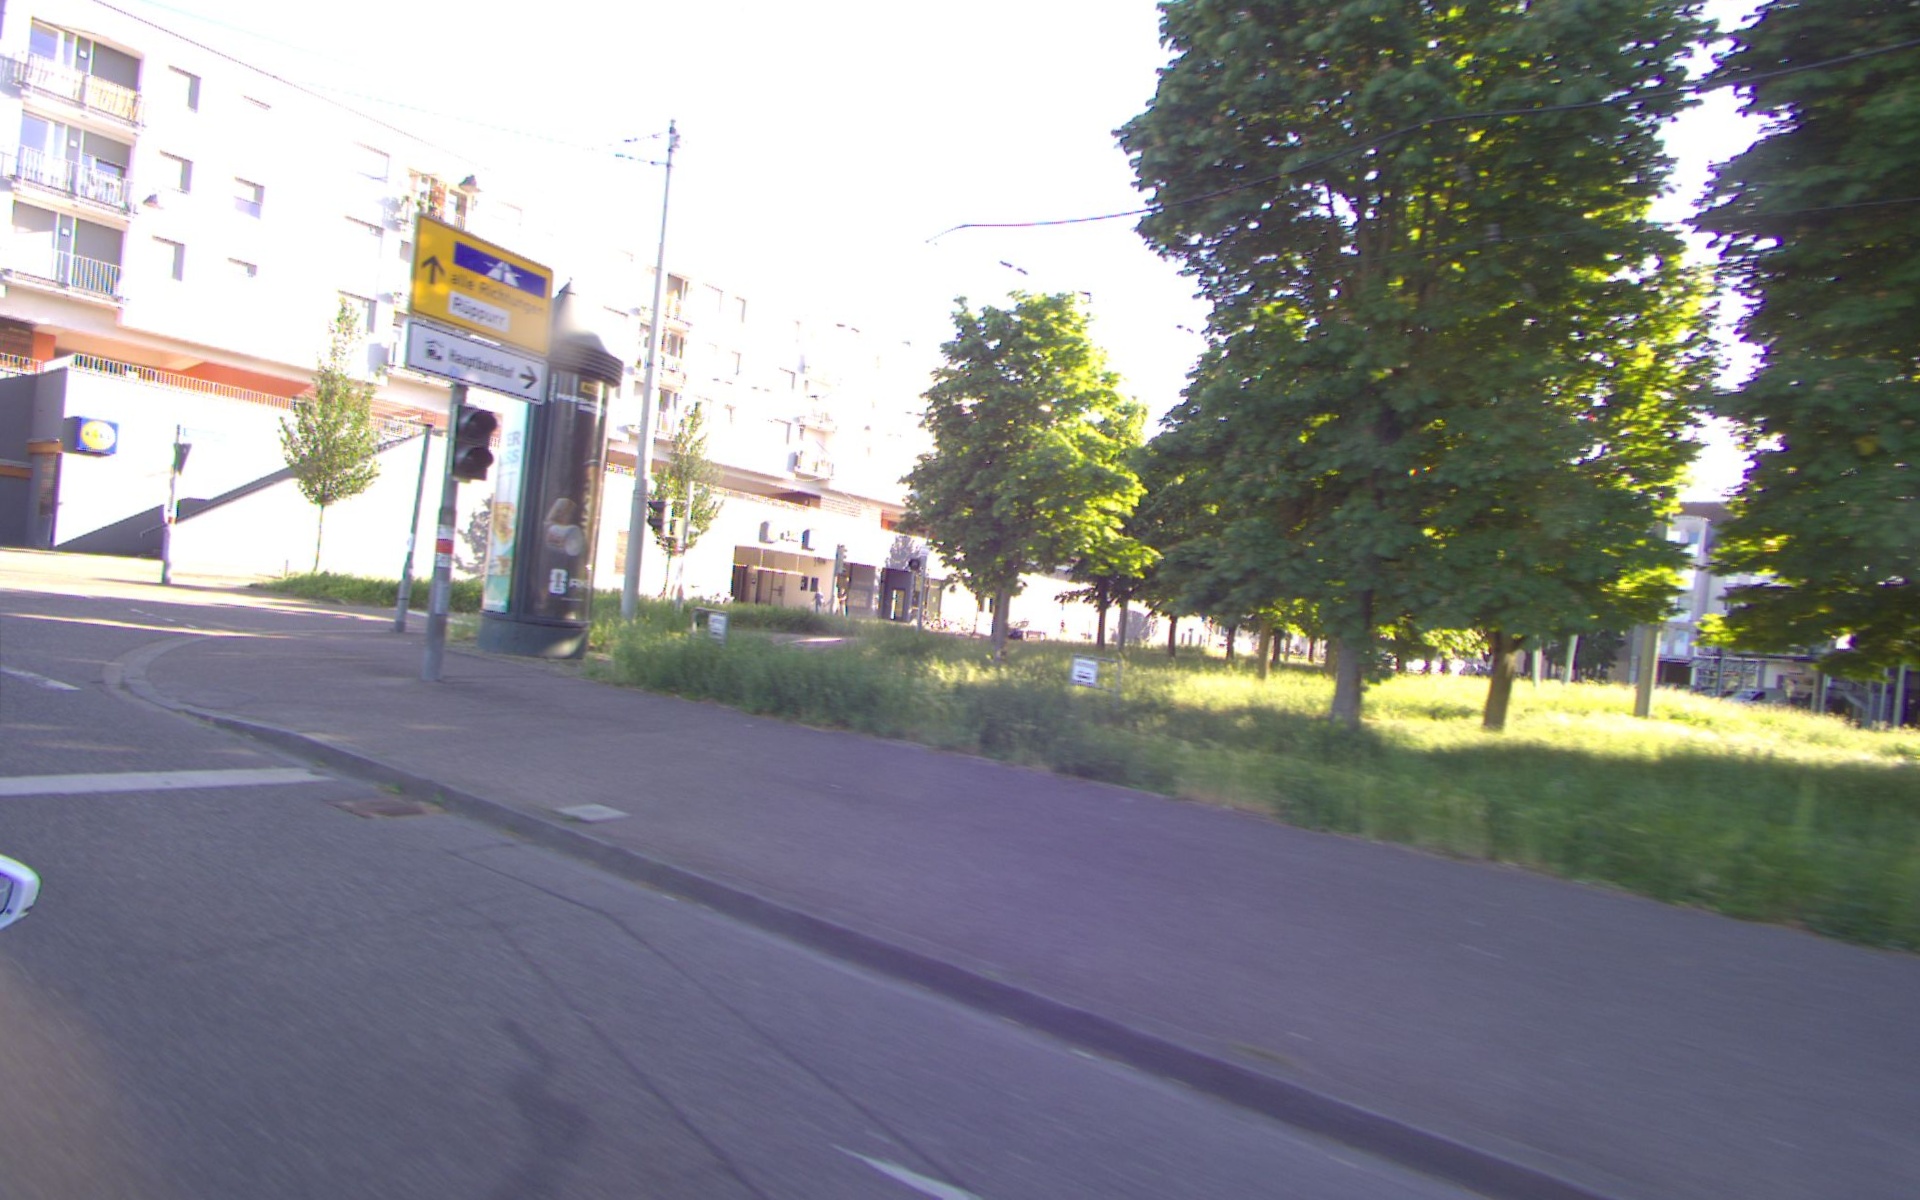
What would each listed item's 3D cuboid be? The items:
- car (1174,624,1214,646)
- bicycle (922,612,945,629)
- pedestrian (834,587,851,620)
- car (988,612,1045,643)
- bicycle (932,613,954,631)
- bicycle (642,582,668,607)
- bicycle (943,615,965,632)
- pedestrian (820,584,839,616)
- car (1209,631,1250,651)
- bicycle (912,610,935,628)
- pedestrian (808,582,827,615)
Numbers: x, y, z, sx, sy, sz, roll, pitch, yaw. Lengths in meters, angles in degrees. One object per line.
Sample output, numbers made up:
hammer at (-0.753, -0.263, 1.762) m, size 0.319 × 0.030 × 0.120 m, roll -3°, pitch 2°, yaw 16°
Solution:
car at (23.229, 3.514, 99.917) m, size 1.975 × 1.658 × 3.979 m, roll 5°, pitch -3°, yaw 44°
bicycle at (-1.701, 1.305, 63.853) m, size 1.434 × 0.981 × 0.480 m, roll 5°, pitch -2°, yaw 43°
pedestrian at (-6.983, 0.200, 59.925) m, size 0.589 × 1.852 × 0.663 m, roll 6°, pitch -1°, yaw 22°
car at (3.932, 1.896, 69.396) m, size 1.969 × 1.658 × 3.990 m, roll 5°, pitch -3°, yaw 36°
bicycle at (-1.108, 1.428, 65.071) m, size 1.434 × 0.981 × 0.480 m, roll 5°, pitch -2°, yaw 43°
bicycle at (-13.470, -0.241, 44.375) m, size 0.479 × 0.981 × 1.437 m, roll 7°, pitch -2°, yaw -41°
bicycle at (-0.390, 1.551, 65.951) m, size 1.434 × 0.981 × 0.480 m, roll 5°, pitch -2°, yaw 43°
pedestrian at (-7.360, 0.016, 56.761) m, size 0.658 × 1.721 × 0.593 m, roll 7°, pitch -2°, yaw -41°
car at (27.895, 4.241, 103.985) m, size 3.968 × 1.659 × 1.980 m, roll 8°, pitch -3°, yaw -38°
bicycle at (-2.282, 1.211, 63.271) m, size 1.434 × 0.981 × 0.480 m, roll 5°, pitch -2°, yaw 43°
pedestrian at (-7.954, -0.080, 56.158) m, size 0.658 × 1.721 × 0.593 m, roll 7°, pitch -2°, yaw -41°
